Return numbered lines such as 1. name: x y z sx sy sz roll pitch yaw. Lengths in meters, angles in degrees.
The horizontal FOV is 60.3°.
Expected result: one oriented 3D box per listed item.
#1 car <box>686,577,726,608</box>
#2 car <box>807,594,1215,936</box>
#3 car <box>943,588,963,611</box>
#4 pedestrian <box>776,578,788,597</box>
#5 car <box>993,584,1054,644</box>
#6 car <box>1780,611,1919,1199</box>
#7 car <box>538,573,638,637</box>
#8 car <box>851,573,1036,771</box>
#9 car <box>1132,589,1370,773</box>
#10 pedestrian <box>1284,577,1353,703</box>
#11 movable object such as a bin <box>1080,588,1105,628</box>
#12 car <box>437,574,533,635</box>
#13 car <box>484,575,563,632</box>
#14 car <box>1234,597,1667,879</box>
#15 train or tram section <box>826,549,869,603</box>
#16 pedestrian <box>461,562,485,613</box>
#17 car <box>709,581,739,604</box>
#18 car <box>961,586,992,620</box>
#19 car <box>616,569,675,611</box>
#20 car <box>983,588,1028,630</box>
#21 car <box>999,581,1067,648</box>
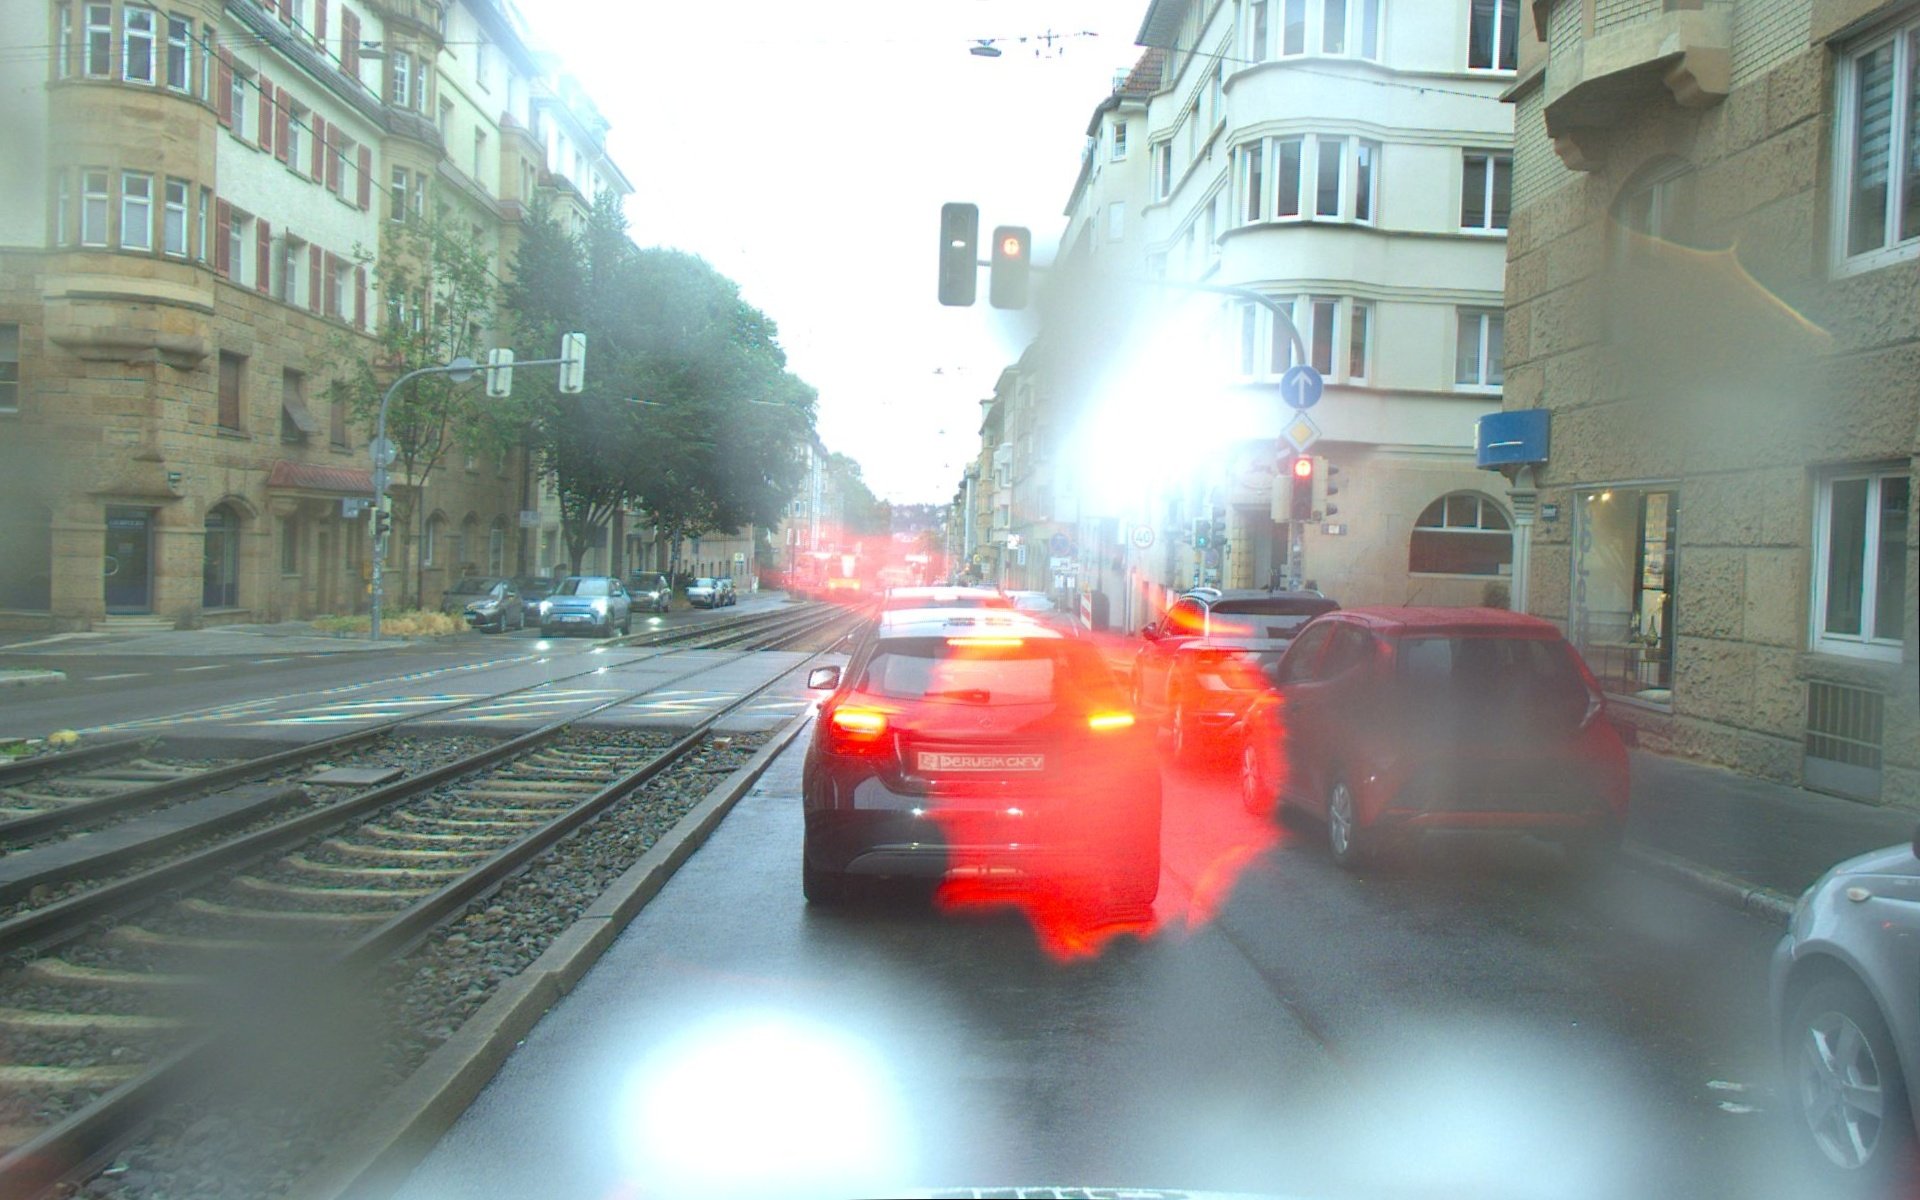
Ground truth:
1. car: -13.645 -0.384 88.935 1.557 1.608 3.917 1 0 -1
2. car: 0.197 0.728 9.419 1.792 1.483 4.103 1 0 -1
3. car: -0.563 -0.039 127.736 1.513 1.664 3.685 1 0 -1
4. pedestrian: -18.872 -1.368 175.520 1.031 1.992 1.043 2 0 0
5. car: 1.778 0.369 47.107 1.513 1.618 3.547 1 0 -1
6. car: 3.129 0.783 3.068 1.581 1.493 3.312 0 0 0
7. car: -10.039 0.144 44.895 1.860 1.615 3.972 1 0 -1
8. car: -0.170 0.613 15.802 1.533 1.637 3.813 1 0 -1
9. car: 2.637 0.671 15.763 1.513 1.512 3.829 1 0 -1
10. pedestrian: 5.200 0.570 24.043 0.726 1.778 1.111 1 -1 -1
11. movable object such as a bin: 4.774 0.292 59.610 0.859 1.413 0.983 1 -1 3
12. car: -13.004 0.129 45.464 1.718 1.579 4.032 1 0 -4
13. car: -13.267 0.111 50.491 1.683 1.639 3.914 1 0 -5
14. car: 2.912 0.743 10.528 1.609 1.473 3.297 1 0 -3
15. train or tram section: -8.649 -1.800 128.605 2.726 3.928 10.427 1 0 -1
16. pedestrian: -16.243 -0.411 55.228 0.619 1.702 0.702 1 -1 -6
17. car: -14.012 -0.440 98.340 1.419 1.354 3.270 1 0 -3
18. car: 0.734 0.123 73.574 1.268 1.467 2.928 1 0 -1
19. car: -13.551 -0.412 71.473 1.837 1.767 3.917 1 0 -1
20. car: 1.674 0.317 61.516 1.513 1.512 3.547 1 0 -1
21. car: 1.847 0.343 42.633 1.513 1.618 3.547 1 0 -1
